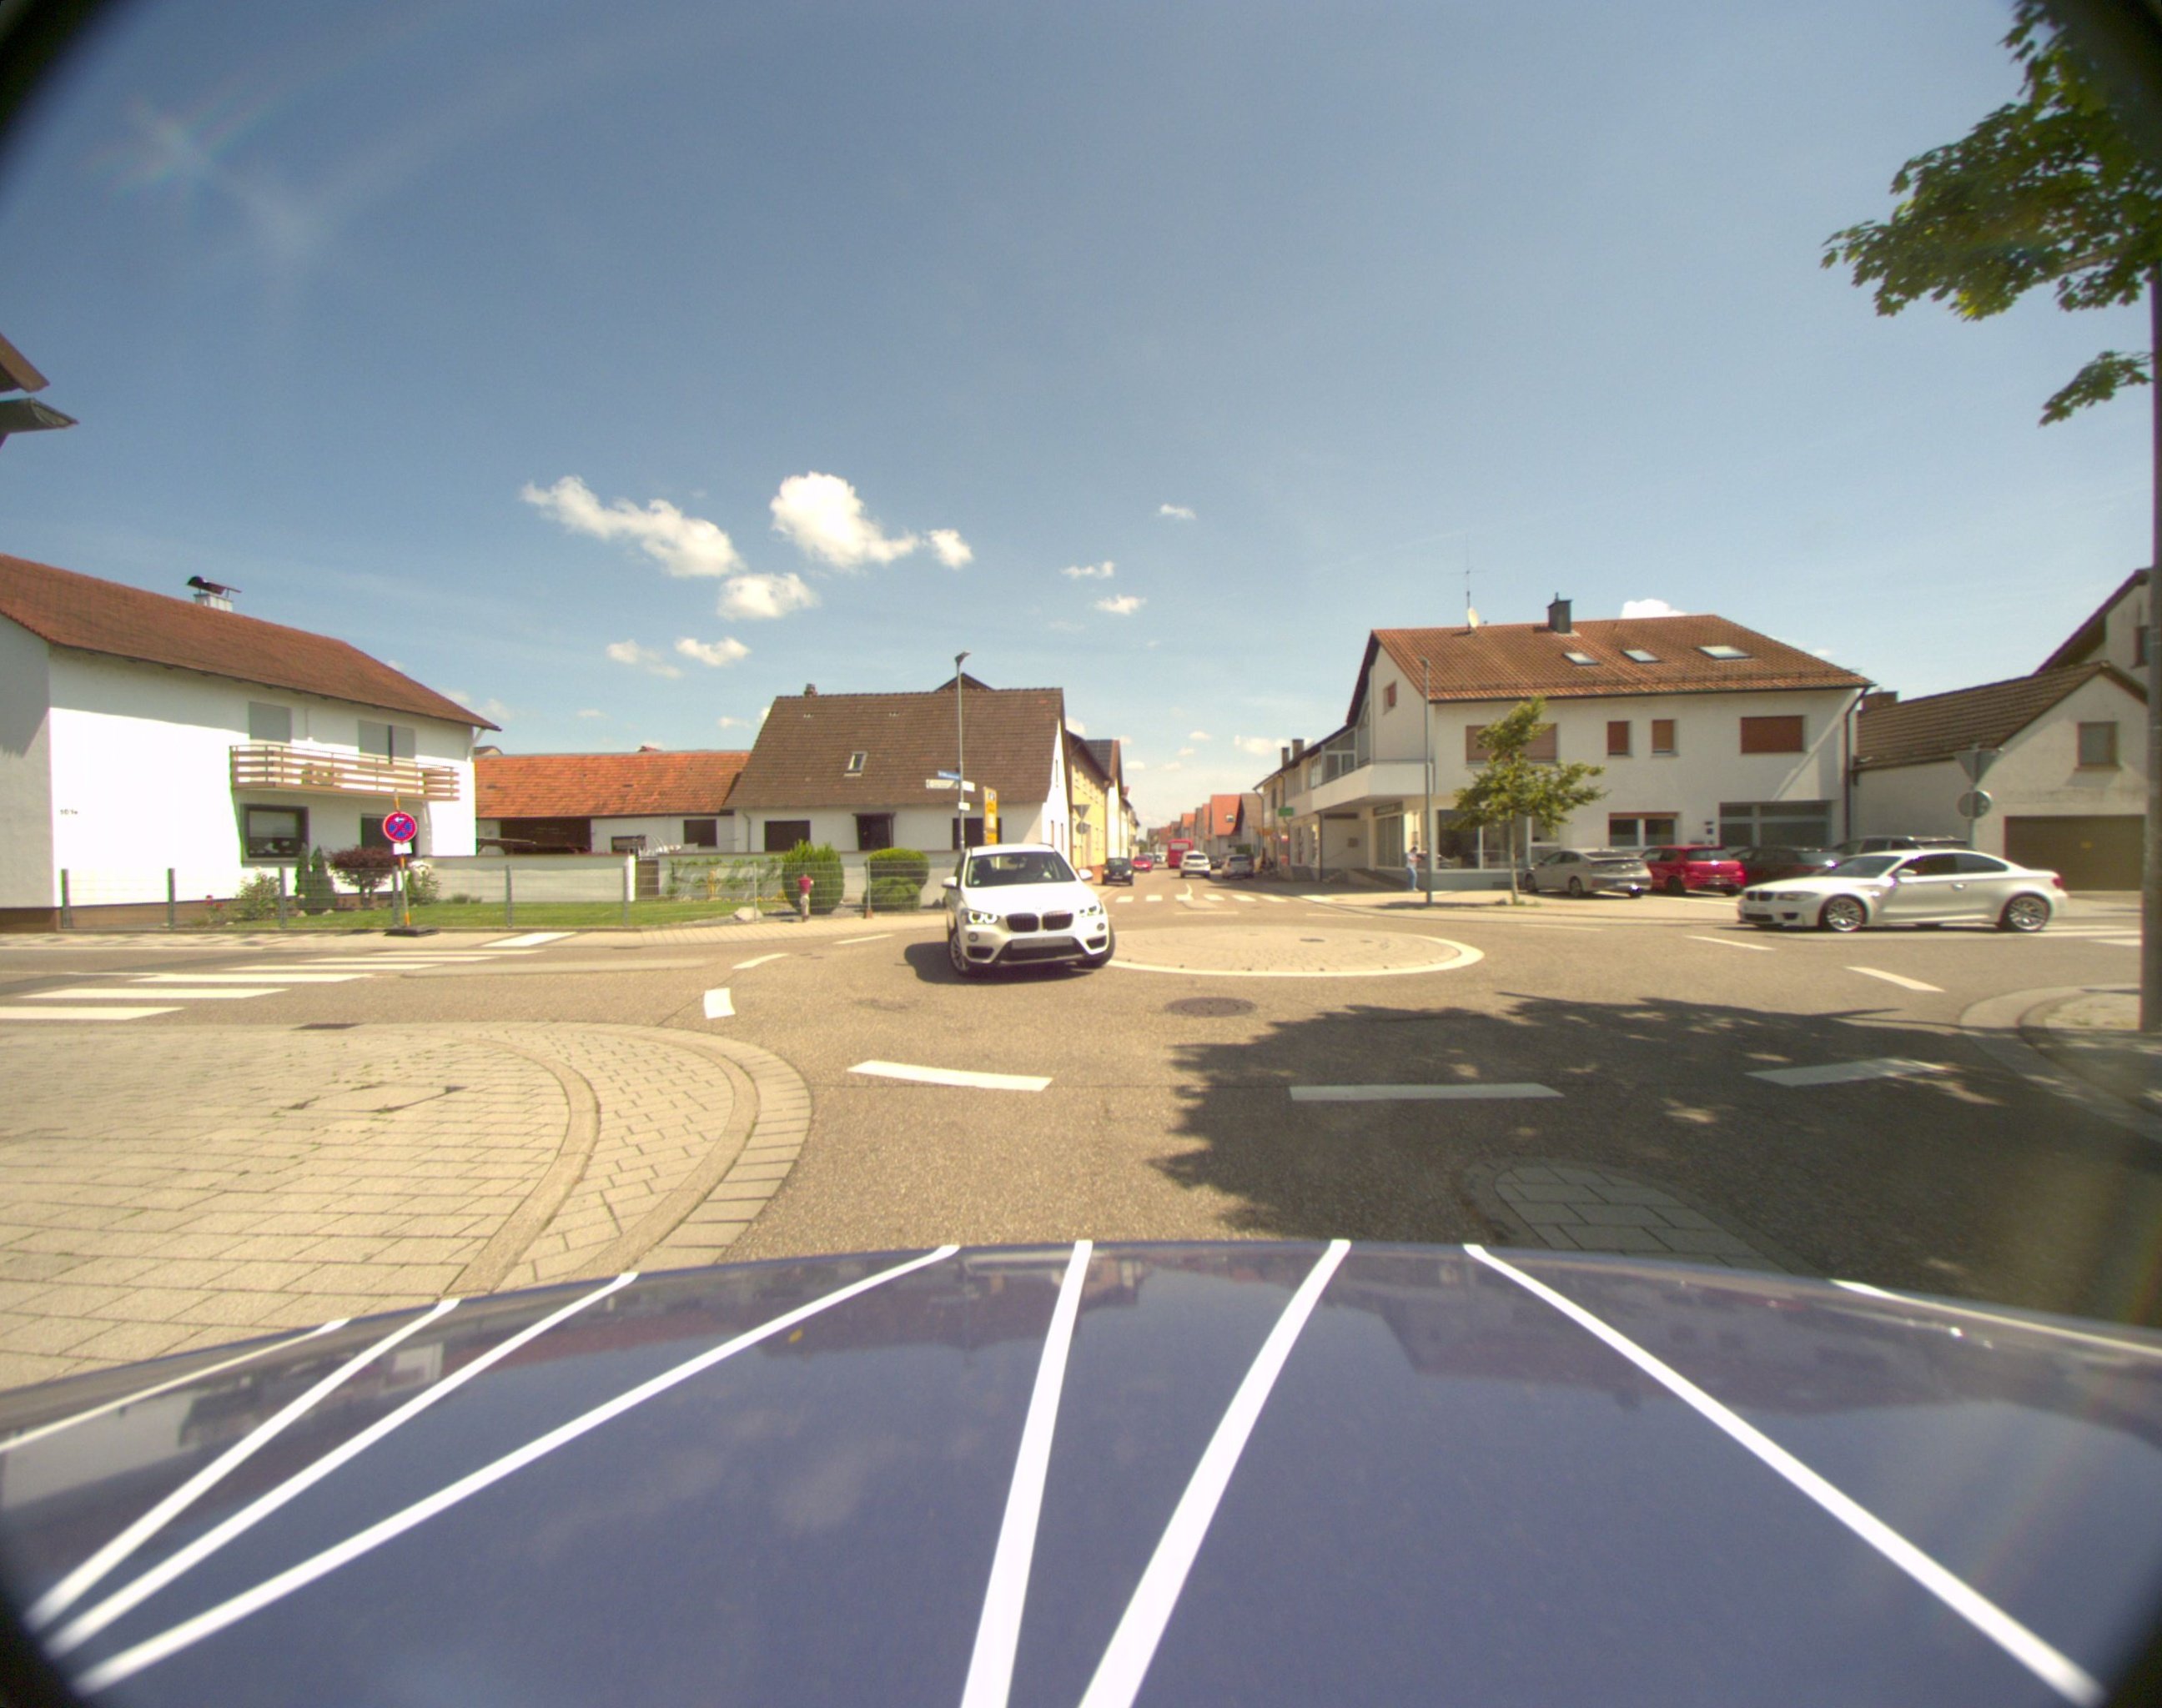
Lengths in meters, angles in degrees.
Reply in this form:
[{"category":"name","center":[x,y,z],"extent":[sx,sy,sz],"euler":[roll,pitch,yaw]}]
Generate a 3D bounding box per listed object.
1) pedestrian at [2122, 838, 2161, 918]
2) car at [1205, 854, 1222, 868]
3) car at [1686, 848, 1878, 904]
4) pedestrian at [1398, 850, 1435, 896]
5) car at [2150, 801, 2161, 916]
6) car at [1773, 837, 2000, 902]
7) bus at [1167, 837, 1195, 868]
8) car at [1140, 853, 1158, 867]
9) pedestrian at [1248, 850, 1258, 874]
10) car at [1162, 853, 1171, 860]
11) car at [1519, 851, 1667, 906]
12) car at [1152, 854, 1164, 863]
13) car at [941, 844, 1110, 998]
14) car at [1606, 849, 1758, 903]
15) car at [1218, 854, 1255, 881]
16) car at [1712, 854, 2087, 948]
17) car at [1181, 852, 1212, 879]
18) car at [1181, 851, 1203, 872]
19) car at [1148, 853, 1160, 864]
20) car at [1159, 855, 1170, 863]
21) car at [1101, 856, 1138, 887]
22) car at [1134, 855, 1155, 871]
[{"category":"pedestrian","center":[24.981,0.550,17.565],"extent":[1.024,1.814,0.782],"euler":[-1,-1,-20]},{"category":"car","center":[13.460,0.696,77.211],"extent":[1.457,1.362,3.386],"euler":[-3,0,7]},{"category":"car","center":[20.507,0.569,22.540],"extent":[1.834,1.442,4.480],"euler":[-1,1,5]},{"category":"pedestrian","center":[11.698,0.647,26.512],"extent":[0.757,1.574,0.956],"euler":[-3,1,-4]},{"category":"car","center":[26.593,0.082,15.495],"extent":[5.675,2.557,2.115],"euler":[0,0,11]},{"category":"car","center":[23.533,0.384,22.552],"extent":[1.985,1.729,4.751],"euler":[-1,1,5]},{"category":"bus","center":[11.051,-0.188,84.518],"extent":[2.632,3.213,12.028],"euler":[1,0,6]},{"category":"car","center":[7.055,0.618,78.544],"extent":[1.763,1.420,4.191],"euler":[0,0,6]},{"category":"pedestrian","center":[12.773,0.599,56.361],"extent":[0.578,1.780,0.693],"euler":[-2,1,6]},{"category":"car","center":[19.756,0.587,176.244],"extent":[1.764,1.420,3.853],"euler":[0,0,3]},{"category":"car","center":[15.426,0.672,23.212],"extent":[1.834,1.442,4.480],"euler":[-1,1,5]},{"category":"car","center":[12.572,0.796,124.644],"extent":[1.764,1.420,4.190],"euler":[0,0,3]},{"category":"car","center":[-0.958,0.724,10.699],"extent":[1.846,1.636,4.370],"euler":[-2,1,-9]},{"category":"car","center":[18.079,0.594,23.122],"extent":[1.751,1.468,3.965],"euler":[-1,1,5]},{"category":"car","center":[9.934,0.823,48.703],"extent":[1.748,1.507,4.001],"euler":[-4,0,5]},{"category":"car","center":[14.264,0.803,13.505],"extent":[4.329,1.440,1.882],"euler":[-2,-1,6]},{"category":"car","center":[7.552,0.700,49.961],"extent":[1.869,1.700,4.545],"euler":[-1,0,7]},{"category":"car","center":[10.081,0.637,69.096],"extent":[1.775,1.810,4.443],"euler":[1,0,5]},{"category":"car","center":[10.438,0.647,108.260],"extent":[1.763,1.420,4.191],"euler":[0,0,6]},{"category":"car","center":[14.927,0.932,136.632],"extent":[1.764,1.420,4.190],"euler":[0,0,3]},{"category":"car","center":[2.040,0.873,39.148],"extent":[1.689,1.454,3.631],"euler":[2,0,6]},{"category":"car","center":[5.705,0.794,67.664],"extent":[1.763,1.420,4.191],"euler":[0,0,6]}]
